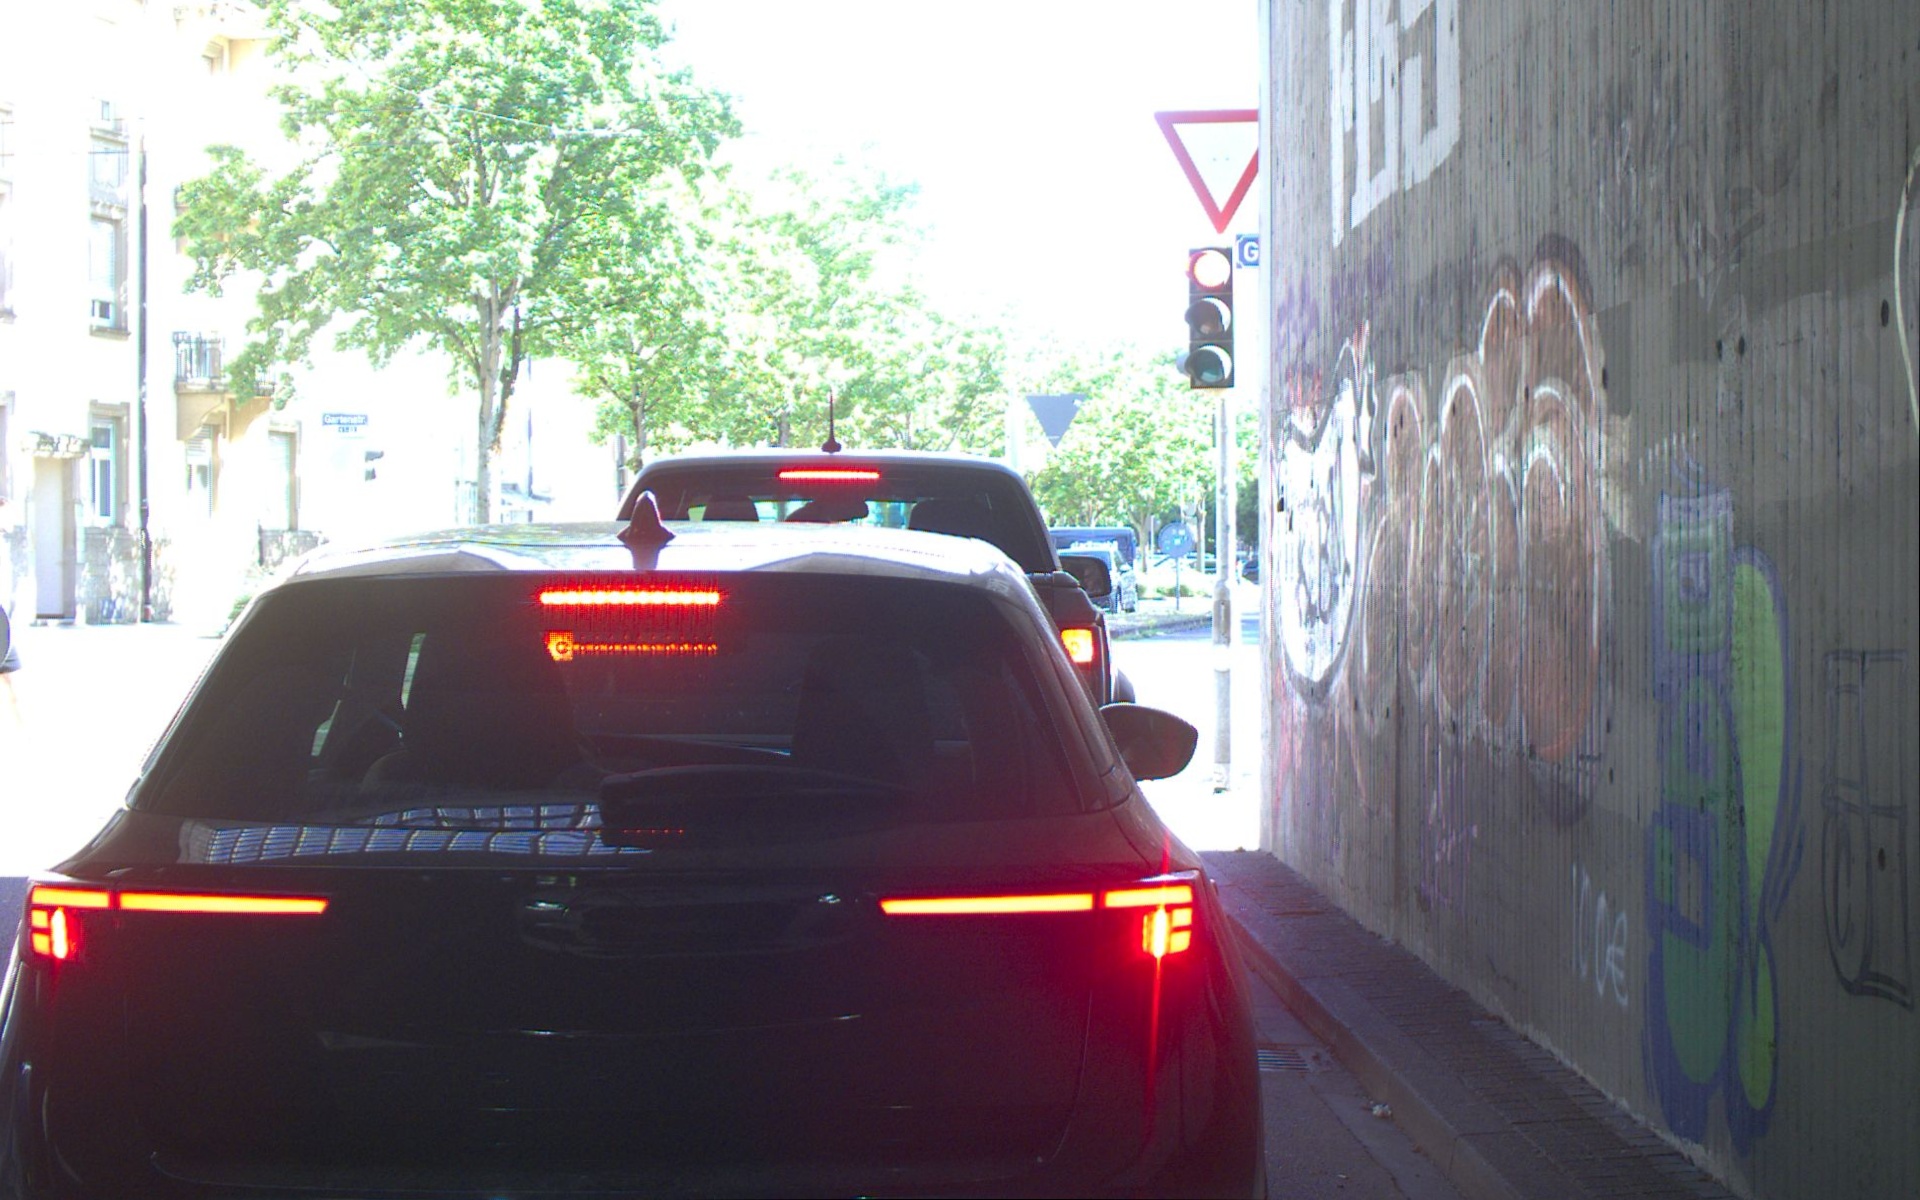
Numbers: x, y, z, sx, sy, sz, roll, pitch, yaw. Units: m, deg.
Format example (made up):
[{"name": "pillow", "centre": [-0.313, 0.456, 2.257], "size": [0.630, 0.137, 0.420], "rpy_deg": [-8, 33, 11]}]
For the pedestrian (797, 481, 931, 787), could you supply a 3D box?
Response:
[{"name": "pedestrian", "centre": [-0.549, 0.188, 19.919], "size": [0.731, 1.728, 0.874], "rpy_deg": [1, 0, -1]}]

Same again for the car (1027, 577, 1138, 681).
[{"name": "car", "centre": [2.469, 0.552, 68.497], "size": [1.994, 1.963, 4.163], "rpy_deg": [1, 1, 5]}]

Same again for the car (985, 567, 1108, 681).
[{"name": "car", "centre": [1.602, 0.404, 62.302], "size": [1.994, 1.963, 4.163], "rpy_deg": [1, 1, 5]}]

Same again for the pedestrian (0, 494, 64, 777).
[{"name": "pedestrian", "centre": [-6.260, 0.213, 21.763], "size": [0.929, 1.756, 0.794], "rpy_deg": [1, 0, 1]}]

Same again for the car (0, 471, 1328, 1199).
[{"name": "car", "centre": [-0.482, 0.569, 6.060], "size": [1.764, 1.566, 4.001], "rpy_deg": [1, 2, -1]}]

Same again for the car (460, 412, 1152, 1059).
[{"name": "car", "centre": [-0.466, 0.355, 11.977], "size": [1.993, 1.865, 4.000], "rpy_deg": [0, 1, -1]}]
